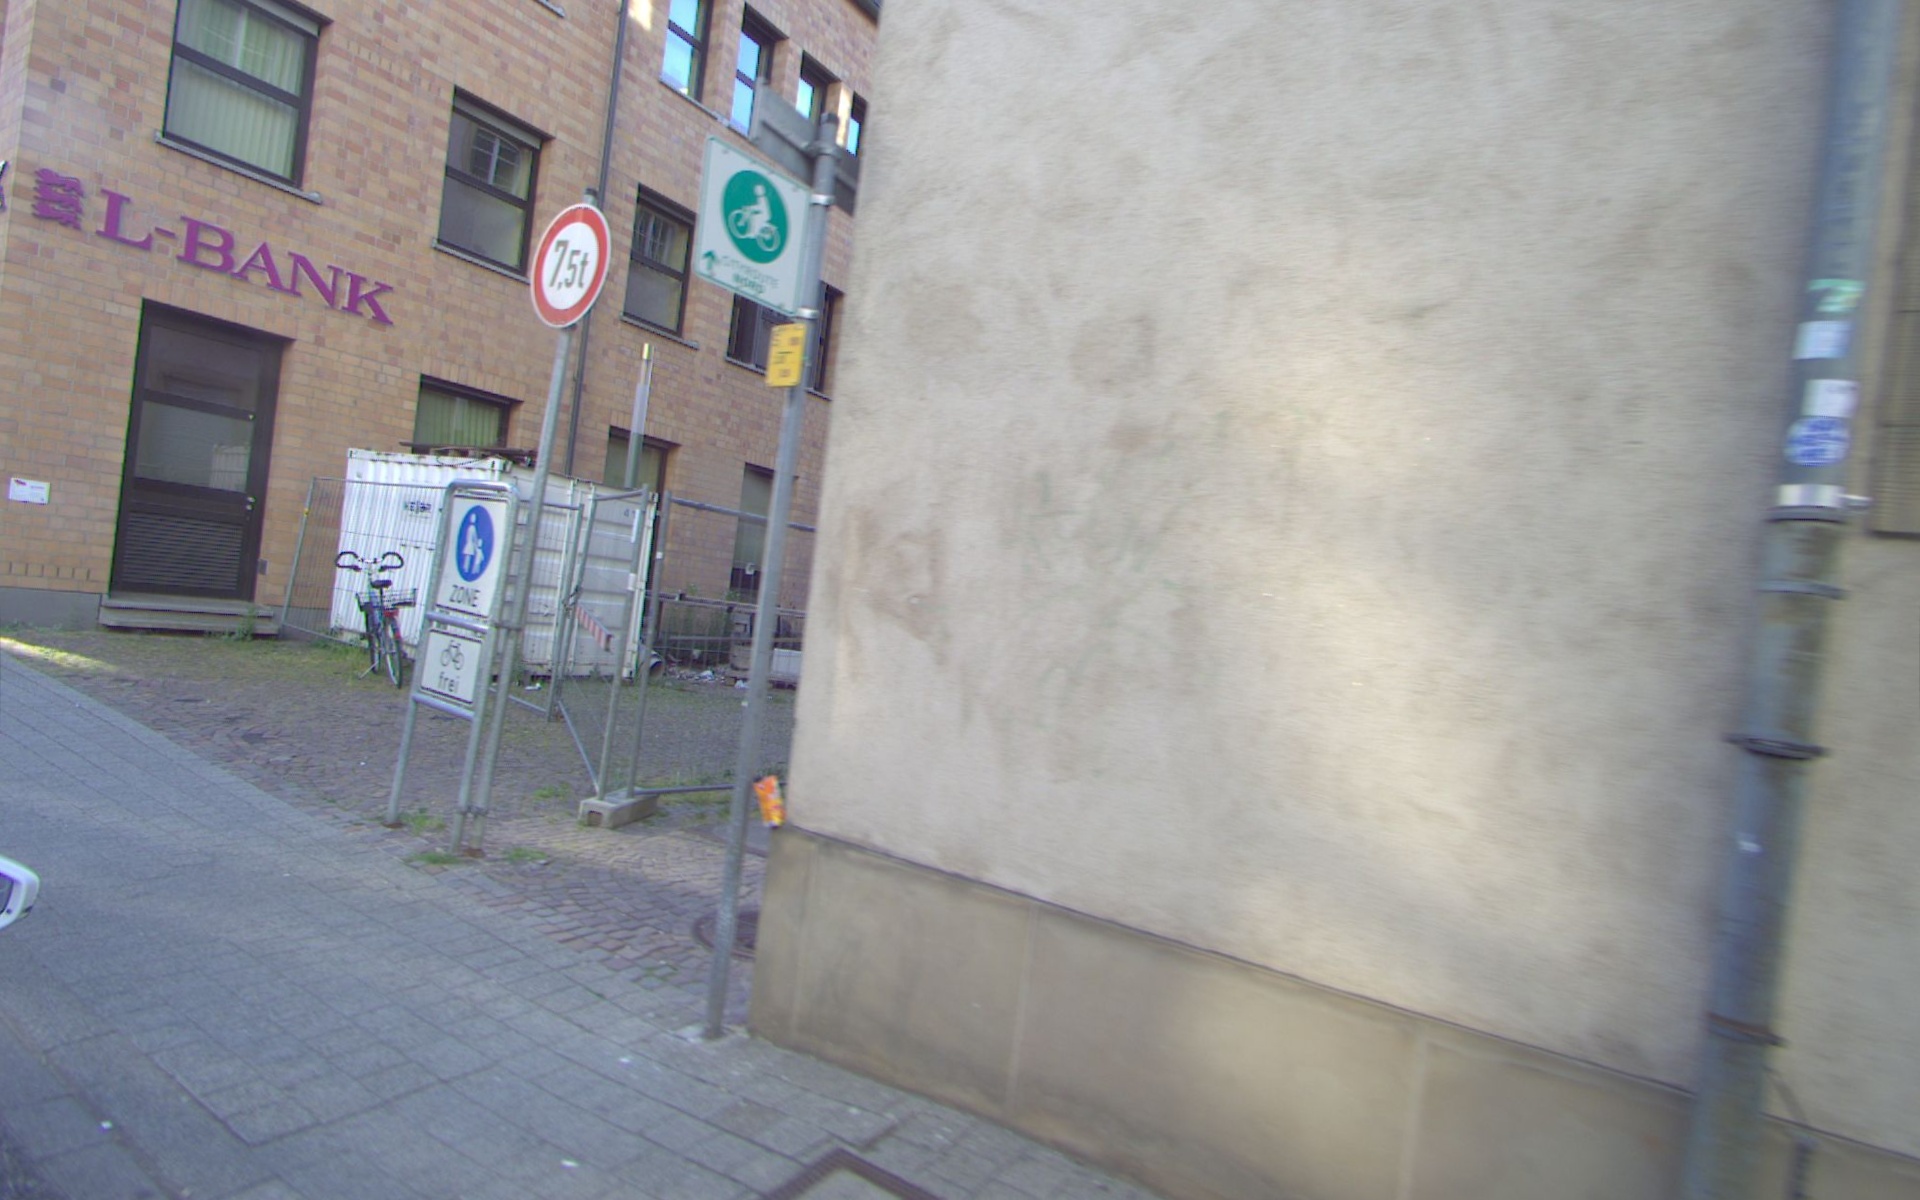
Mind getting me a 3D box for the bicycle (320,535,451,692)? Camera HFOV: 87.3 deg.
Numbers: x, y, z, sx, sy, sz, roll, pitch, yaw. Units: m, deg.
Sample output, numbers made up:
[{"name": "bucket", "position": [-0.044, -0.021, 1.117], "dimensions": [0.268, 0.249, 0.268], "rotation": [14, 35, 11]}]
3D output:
[{"name": "bicycle", "position": [-5.619, 0.105, 9.795], "dimensions": [1.625, 1.333, 0.549], "rotation": [8, 1, 43]}]
